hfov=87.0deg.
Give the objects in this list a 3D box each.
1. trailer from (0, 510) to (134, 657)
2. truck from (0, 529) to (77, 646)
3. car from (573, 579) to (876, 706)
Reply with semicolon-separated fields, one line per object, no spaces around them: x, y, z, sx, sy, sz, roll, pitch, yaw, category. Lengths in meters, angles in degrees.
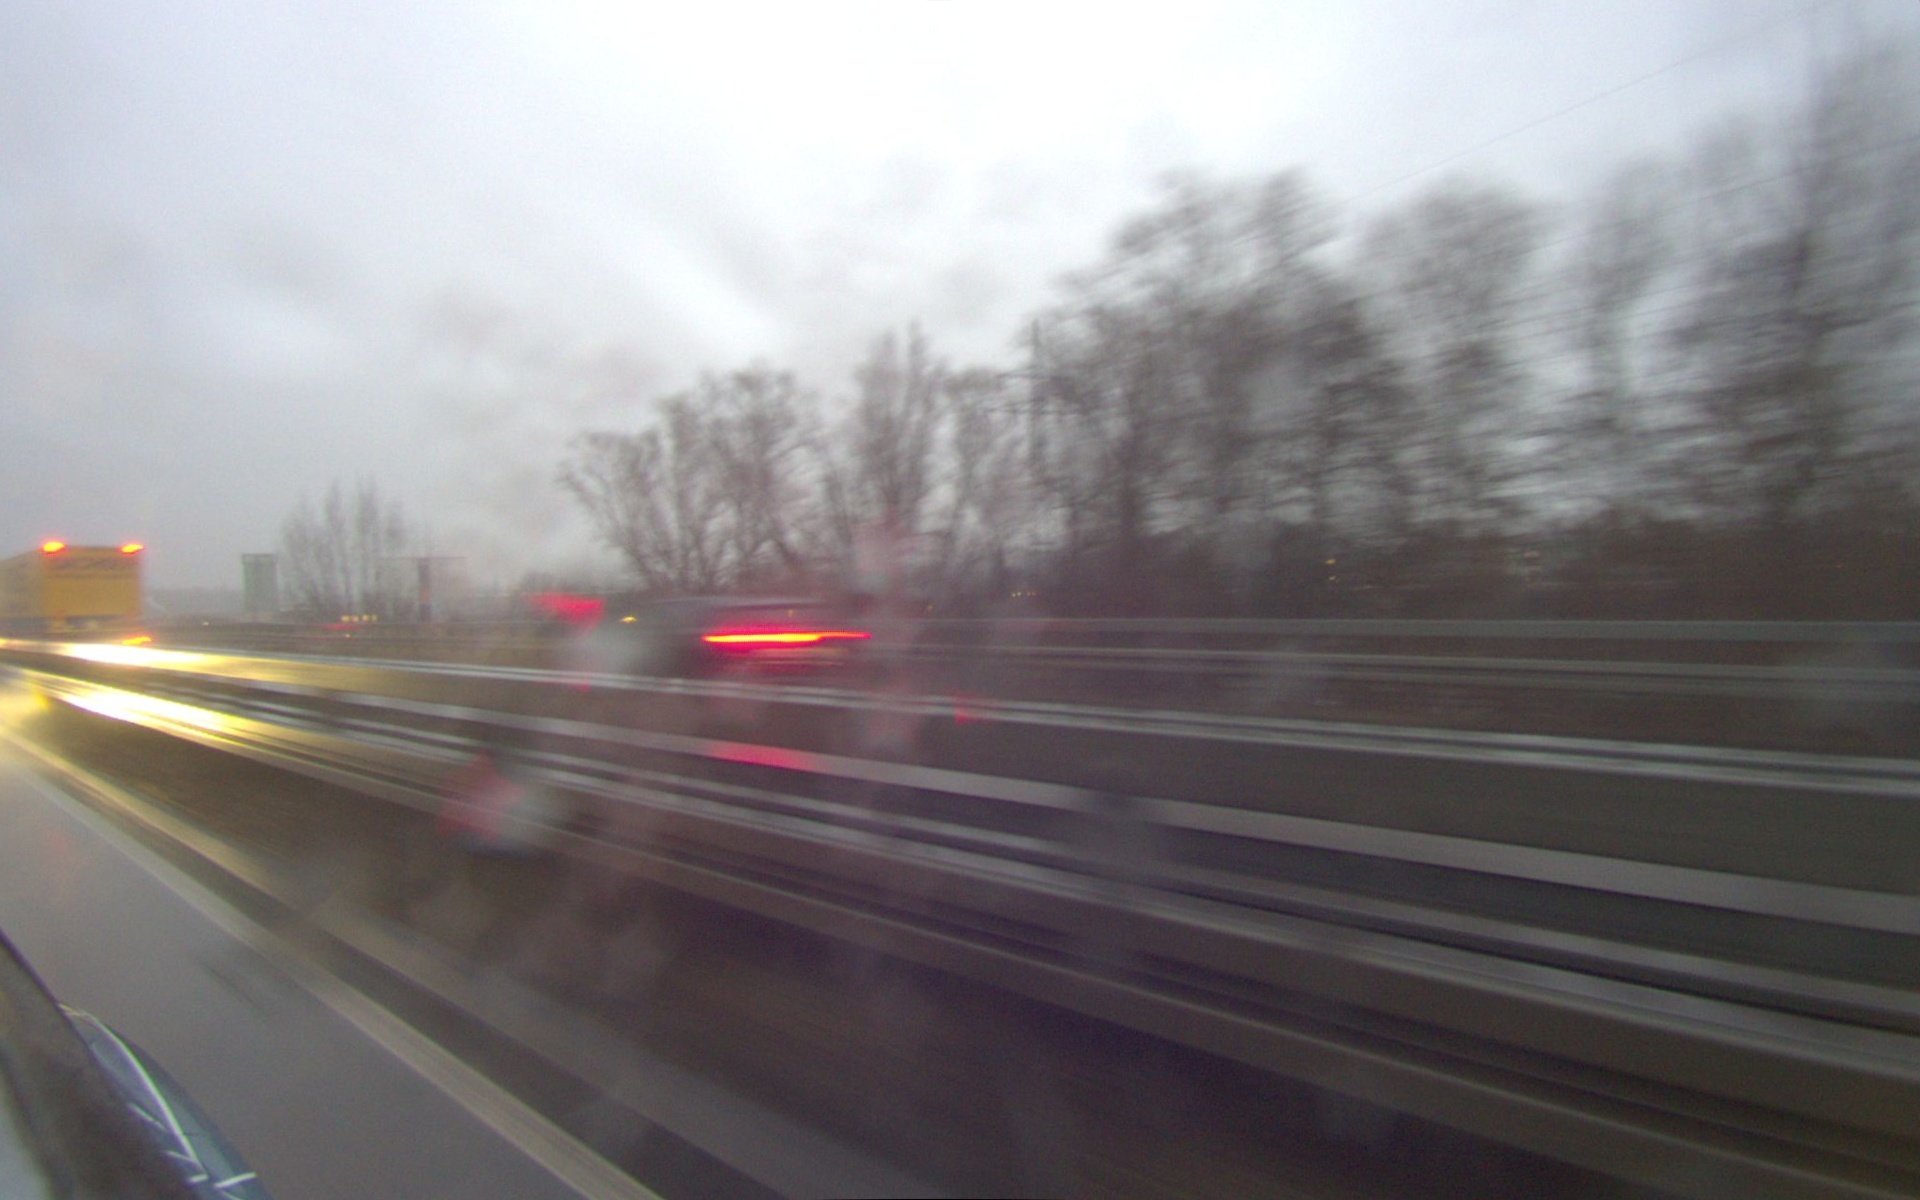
-33.548;-0.478;37.377;13.320;4.619;2.600;-1;0;42;trailer
-39.571;-0.435;42.698;6.353;4.615;2.568;-1;-1;41;truck
-3.596;0.617;15.014;4.474;1.605;2.073;-3;-1;40;car
